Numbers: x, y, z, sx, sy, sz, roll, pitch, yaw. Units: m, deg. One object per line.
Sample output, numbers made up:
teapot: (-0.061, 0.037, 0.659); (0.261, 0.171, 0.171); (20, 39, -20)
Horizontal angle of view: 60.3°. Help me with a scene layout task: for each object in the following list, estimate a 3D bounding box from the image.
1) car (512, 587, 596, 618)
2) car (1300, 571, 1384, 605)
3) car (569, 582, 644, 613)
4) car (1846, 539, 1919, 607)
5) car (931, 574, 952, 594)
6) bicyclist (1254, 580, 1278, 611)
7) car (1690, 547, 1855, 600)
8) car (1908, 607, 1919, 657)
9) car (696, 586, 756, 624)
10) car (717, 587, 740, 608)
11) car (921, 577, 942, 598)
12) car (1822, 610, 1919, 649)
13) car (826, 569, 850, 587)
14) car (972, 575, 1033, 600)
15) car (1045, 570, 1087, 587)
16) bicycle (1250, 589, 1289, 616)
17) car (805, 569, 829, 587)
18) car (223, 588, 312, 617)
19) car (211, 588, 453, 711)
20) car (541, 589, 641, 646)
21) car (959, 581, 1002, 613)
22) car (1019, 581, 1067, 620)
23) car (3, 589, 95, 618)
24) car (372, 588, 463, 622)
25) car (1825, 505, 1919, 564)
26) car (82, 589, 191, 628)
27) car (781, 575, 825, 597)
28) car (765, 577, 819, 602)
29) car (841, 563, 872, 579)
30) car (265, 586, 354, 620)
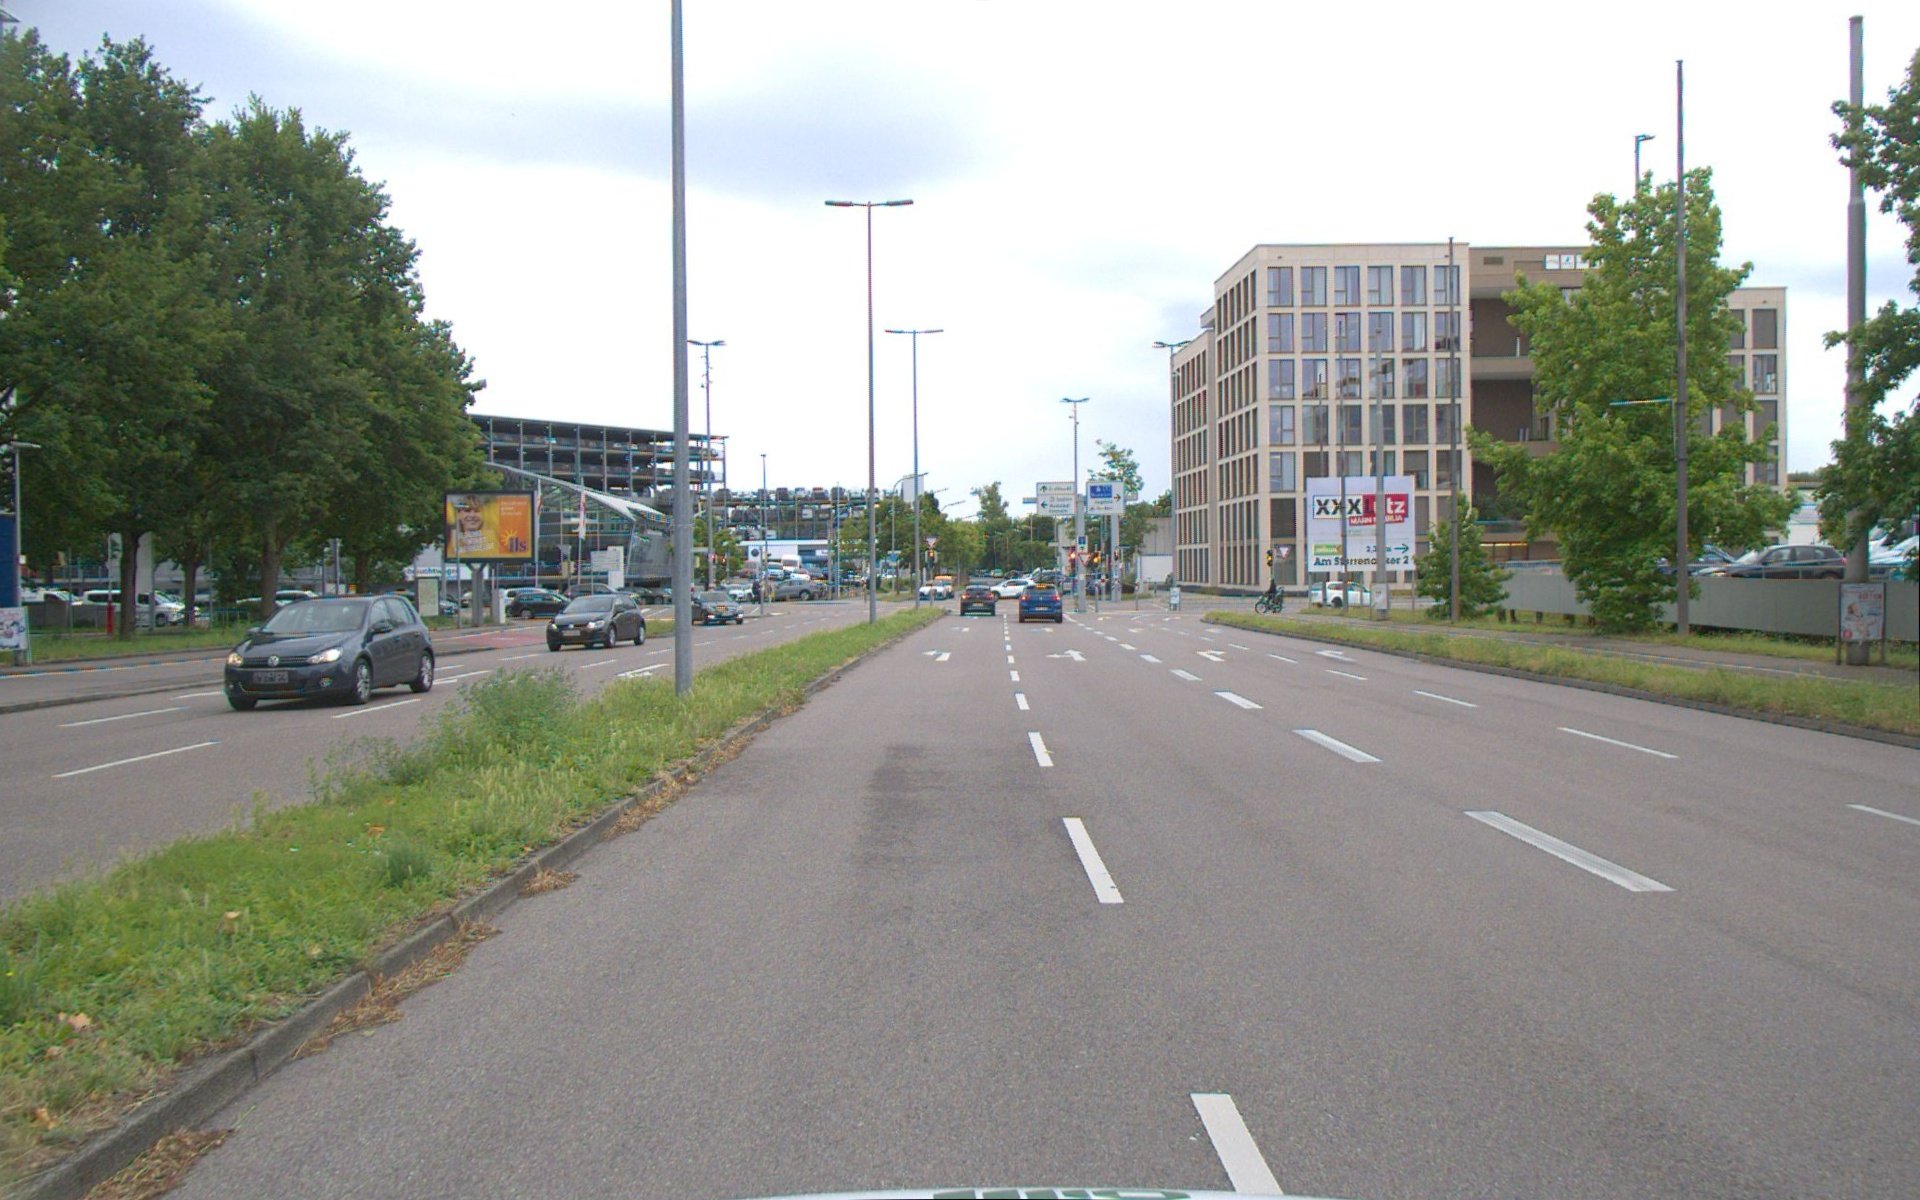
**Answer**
car: (-22.938, 0.130, 93.536); (4.331, 1.689, 1.997); (0, 0, -6)
car: (20.824, -0.649, 90.243); (4.109, 1.783, 1.986); (-1, 0, -23)
car: (-21.384, -0.159, 100.290); (4.323, 1.672, 1.996); (-1, 2, -10)
car: (23.303, -0.666, 38.925); (3.987, 1.551, 1.811); (-1, 2, -4)
car: (-1.522, -1.311, 136.168); (1.567, 1.478, 3.325); (-1, 2, 1)
bicyclist: (15.087, -0.237, 81.515); (0.694, 1.530, 0.988); (-1, 1, -36)
car: (22.702, -0.756, 46.316); (3.794, 1.408, 1.720); (-1, 2, -2)
car: (28.380, 0.882, 45.194); (3.971, 1.374, 1.764); (0, 0, 0)
car: (-10.171, 0.183, 72.296); (1.754, 1.505, 4.533); (-2, 1, 2)
car: (-16.730, -0.214, 119.256); (1.348, 1.349, 3.024); (-1, 3, -13)
car: (-2.192, -0.945, 128.032); (1.567, 1.478, 3.325); (-1, 2, 1)
car: (34.038, 1.093, 61.156); (3.545, 1.308, 1.459); (-1, 2, 2)
car: (-12.427, -2.255, 168.264); (1.738, 1.735, 3.920); (0, 2, 5)
car: (2.855, -0.867, 111.498); (3.869, 1.595, 1.757); (-1, 2, -9)
car: (9.923, -1.988, 155.001); (3.529, 1.504, 1.760); (0, 3, 21)
bicycle: (15.213, 0.124, 81.332); (0.694, 1.318, 1.986); (-1, 1, -35)
car: (-14.573, -2.231, 168.236); (1.738, 1.735, 3.920); (0, 2, 5)
car: (-38.870, 0.119, 92.924); (4.143, 1.538, 1.993); (-1, 1, -4)
car: (-8.644, 0.615, 23.173); (1.744, 1.481, 4.182); (-2, 1, 0)
car: (-10.130, 0.444, 45.669); (1.892, 1.481, 4.181); (0, 0, -1)
car: (0.970, -0.130, 80.173); (1.947, 1.453, 4.240); (-1, 0, -1)
car: (3.359, 0.003, 67.526); (1.797, 1.541, 4.000); (0, 1, 0)
car: (-52.318, 0.200, 95.052); (4.143, 1.530, 1.993); (-1, 1, -4)
car: (-30.417, 0.261, 92.894); (4.456, 1.688, 1.998); (-2, 1, -6)
car: (36.737, -2.576, 64.440); (4.906, 2.249, 2.167); (0, 2, 4)
car: (-45.789, 0.455, 92.067); (5.030, 1.997, 1.880); (-1, 4, -4)
car: (-12.821, -1.117, 134.947); (3.534, 1.696, 1.548); (-1, 2, -4)
car: (-12.611, -0.795, 124.254); (3.908, 1.821, 1.846); (-1, 2, -4)
car: (-11.124, -3.113, 178.295); (3.229, 1.669, 1.479); (-1, 2, -3)
car: (-37.666, 0.146, 95.881); (4.346, 1.740, 1.999); (-1, 4, -5)
